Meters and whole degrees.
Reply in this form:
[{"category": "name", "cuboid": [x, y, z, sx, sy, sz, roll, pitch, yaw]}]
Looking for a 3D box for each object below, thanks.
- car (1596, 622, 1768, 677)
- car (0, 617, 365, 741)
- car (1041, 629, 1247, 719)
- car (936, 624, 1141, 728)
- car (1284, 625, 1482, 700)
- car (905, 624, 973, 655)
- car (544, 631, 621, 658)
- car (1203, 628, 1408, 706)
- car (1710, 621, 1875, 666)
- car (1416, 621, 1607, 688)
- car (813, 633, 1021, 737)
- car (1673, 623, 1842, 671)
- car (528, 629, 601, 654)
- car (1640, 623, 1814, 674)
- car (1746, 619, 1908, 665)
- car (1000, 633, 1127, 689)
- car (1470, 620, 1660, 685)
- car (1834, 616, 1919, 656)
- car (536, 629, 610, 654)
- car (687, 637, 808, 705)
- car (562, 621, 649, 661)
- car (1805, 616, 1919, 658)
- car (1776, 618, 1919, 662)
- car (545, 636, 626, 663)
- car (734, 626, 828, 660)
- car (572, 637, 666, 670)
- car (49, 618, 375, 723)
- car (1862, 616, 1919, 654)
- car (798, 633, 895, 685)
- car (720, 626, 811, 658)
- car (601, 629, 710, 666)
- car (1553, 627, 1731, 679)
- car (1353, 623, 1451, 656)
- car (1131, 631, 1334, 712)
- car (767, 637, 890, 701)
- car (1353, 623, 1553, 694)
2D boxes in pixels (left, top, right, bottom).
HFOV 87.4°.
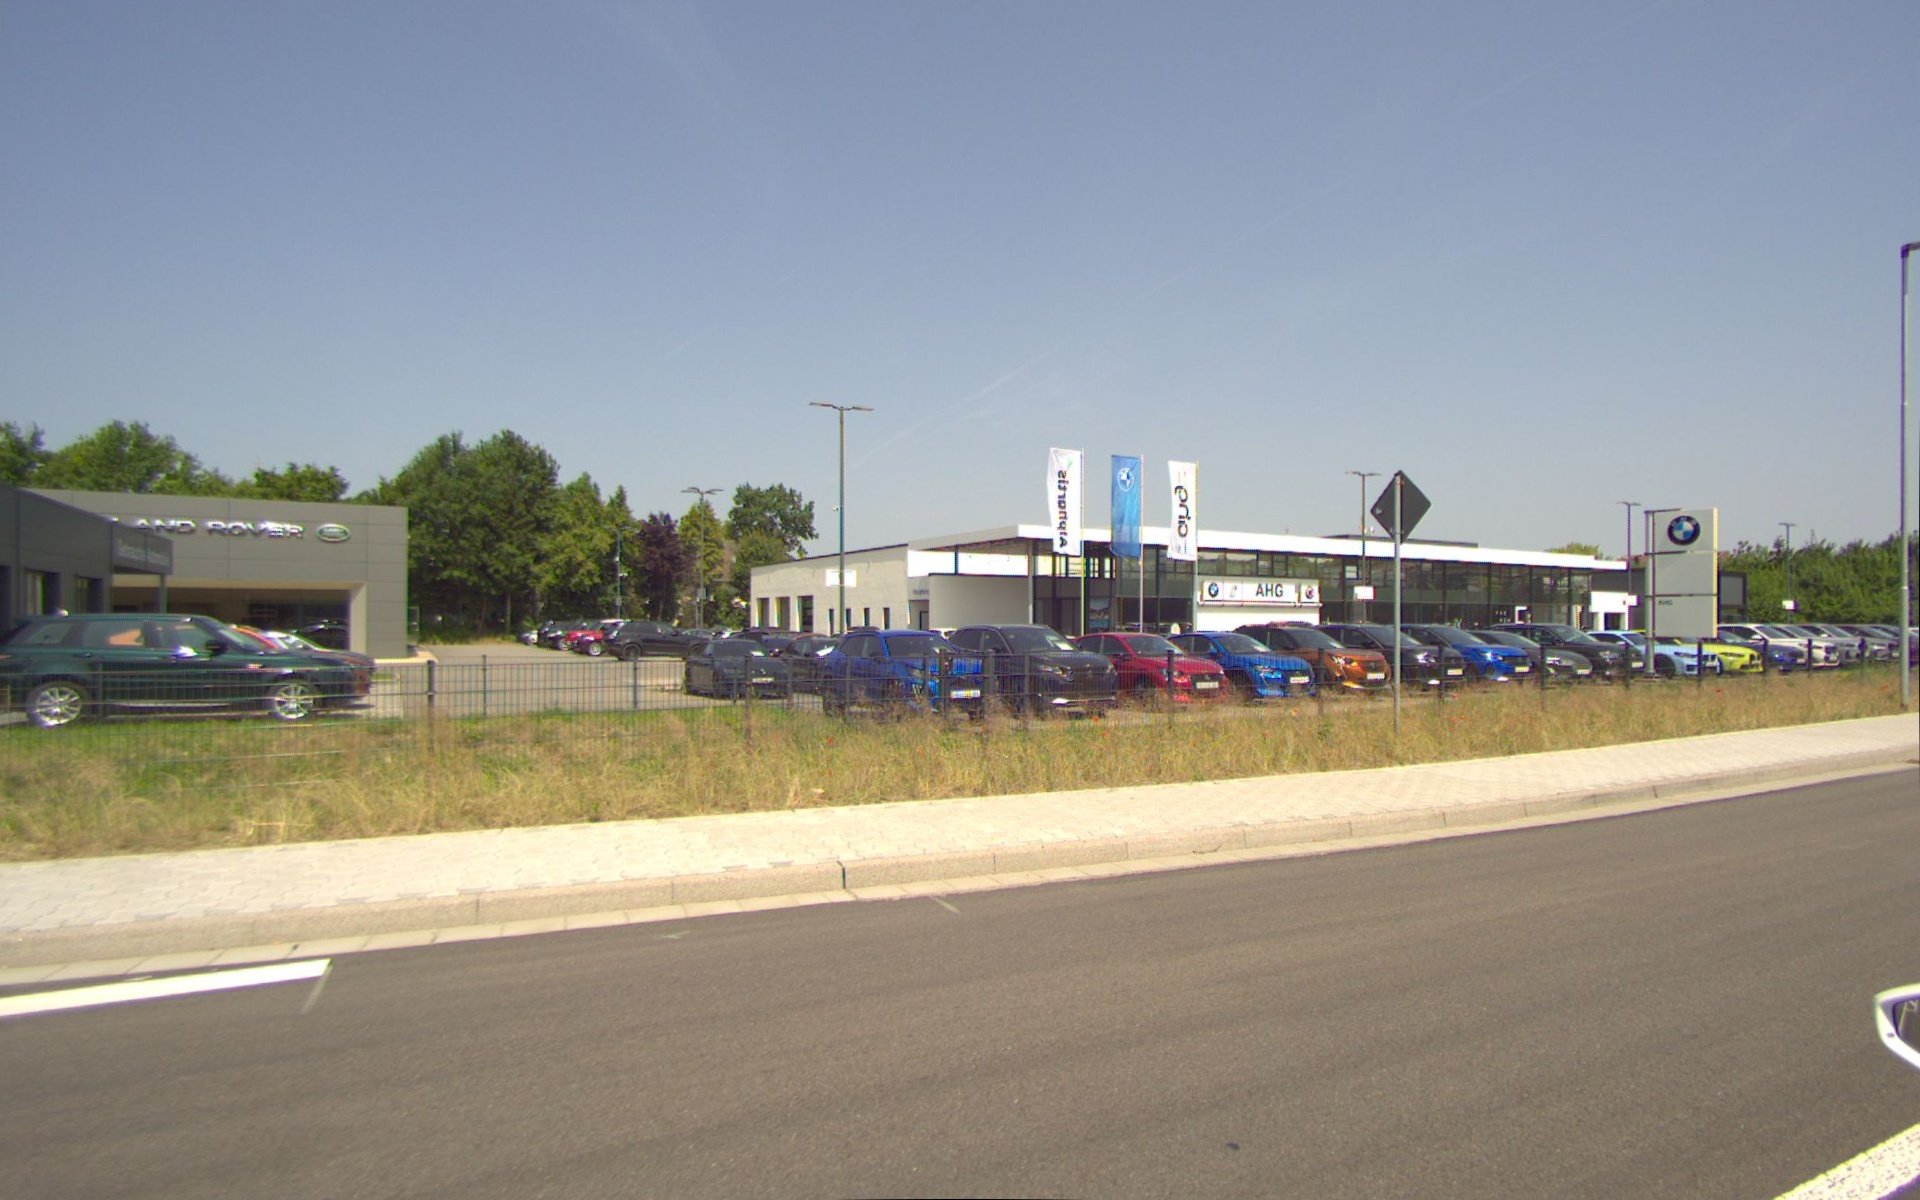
[{"category": "car", "cuboid": [22.405, 1.494, 31.318, 1.793, 1.555, 3.970, 0, -1, -29]}, {"category": "car", "cuboid": [-12.392, 1.204, 16.259, 4.698, 1.761, 1.944, 2, -2, -31]}, {"category": "car", "cuboid": [3.484, 1.357, 19.711, 1.794, 1.548, 3.967, 0, -1, -31]}, {"category": "car", "cuboid": [1.315, 1.293, 18.449, 1.794, 1.657, 3.967, 0, -1, -31]}, {"category": "car", "cuboid": [9.715, 1.384, 23.360, 1.794, 1.555, 3.967, 0, -1, -31]}, {"category": "car", "cuboid": [-1.135, 2.001, 51.860, 1.609, 1.500, 4.309, 0, -1, -31]}, {"category": "car", "cuboid": [-23.550, 2.759, 62.720, 4.299, 1.500, 1.612, 0, -1, -34]}, {"category": "car", "cuboid": [7.465, 1.388, 22.050, 1.893, 1.514, 3.967, 0, -1, -31]}, {"category": "car", "cuboid": [29.498, 1.508, 35.726, 1.793, 1.486, 4.146, 0, -1, -29]}, {"category": "car", "cuboid": [14.155, 1.361, 25.981, 1.794, 1.555, 3.967, 0, -1, -31]}, {"category": "car", "cuboid": [-0.861, 1.327, 17.131, 1.889, 1.500, 3.967, 0, -1, -31]}, {"category": "car", "cuboid": [27.065, 1.556, 34.233, 1.793, 1.486, 4.146, 0, -1, -29]}, {"category": "car", "cuboid": [-26.532, 2.769, 67.422, 4.299, 1.500, 1.612, 0, -1, -34]}, {"category": "car", "cuboid": [24.823, 1.533, 32.658, 1.793, 1.486, 4.146, 0, -1, -29]}, {"category": "car", "cuboid": [31.876, 1.504, 37.056, 1.793, 1.565, 4.146, 0, -1, -29]}, {"category": "car", "cuboid": [3.050, 1.779, 30.349, 1.794, 1.514, 3.967, 0, -1, -31]}, {"category": "car", "cuboid": [16.402, 1.379, 27.426, 2.030, 1.593, 3.967, 0, -1, -31]}, {"category": "car", "cuboid": [38.501, 1.432, 40.806, 1.793, 1.565, 4.146, 0, -1, -29]}, {"category": "car", "cuboid": [-25.209, 2.705, 65.494, 4.299, 1.500, 1.612, 0, -1, -34]}, {"category": "car", "cuboid": [-5.444, 1.725, 25.359, 1.794, 1.500, 3.967, 0, -1, -31]}, {"category": "car", "cuboid": [-19.875, 2.278, 56.376, 4.299, 2.065, 1.612, 0, -1, -34]}, {"category": "car", "cuboid": [36.097, 1.435, 39.407, 1.793, 1.565, 4.146, 0, -1, -29]}, {"category": "car", "cuboid": [33.963, 1.490, 38.204, 1.793, 1.565, 4.146, 0, -1, -29]}, {"category": "car", "cuboid": [-22.431, 2.932, 60.147, 4.299, 1.500, 1.612, 0, -1, -34]}, {"category": "car", "cuboid": [-8.794, 2.088, 49.418, 4.299, 1.500, 1.612, 0, -1, -34]}, {"category": "car", "cuboid": [-17.368, 2.690, 51.199, 4.299, 1.500, 1.612, 0, -1, -34]}, {"category": "car", "cuboid": [-13.778, 1.273, 18.962, 4.698, 1.761, 1.944, 2, -2, -31]}, {"category": "car", "cuboid": [40.837, 1.470, 42.082, 1.793, 1.565, 4.146, 0, -1, -29]}, {"category": "car", "cuboid": [-3.899, 1.959, 34.075, 1.659, 1.615, 3.964, 0, -1, -33]}, {"category": "car", "cuboid": [-9.985, 2.158, 51.743, 4.299, 1.500, 1.612, 0, -1, -34]}, {"category": "car", "cuboid": [-13.341, 2.060, 44.130, 4.299, 1.500, 1.612, 0, -1, -34]}, {"category": "car", "cuboid": [20.236, 1.538, 29.972, 1.855, 1.409, 3.971, 0, -1, -28]}, {"category": "car", "cuboid": [21.535, 1.907, 49.103, 1.793, 1.486, 4.146, 0, -1, -29]}, {"category": "car", "cuboid": [5.557, 1.404, 20.929, 1.766, 1.464, 3.967, 0, -1, -31]}, {"category": "car", "cuboid": [-3.562, 1.764, 26.576, 1.794, 1.500, 3.967, 0, -1, -31]}, {"category": "car", "cuboid": [11.966, 1.367, 24.619, 1.949, 1.555, 3.967, 0, -1, -31]}]
